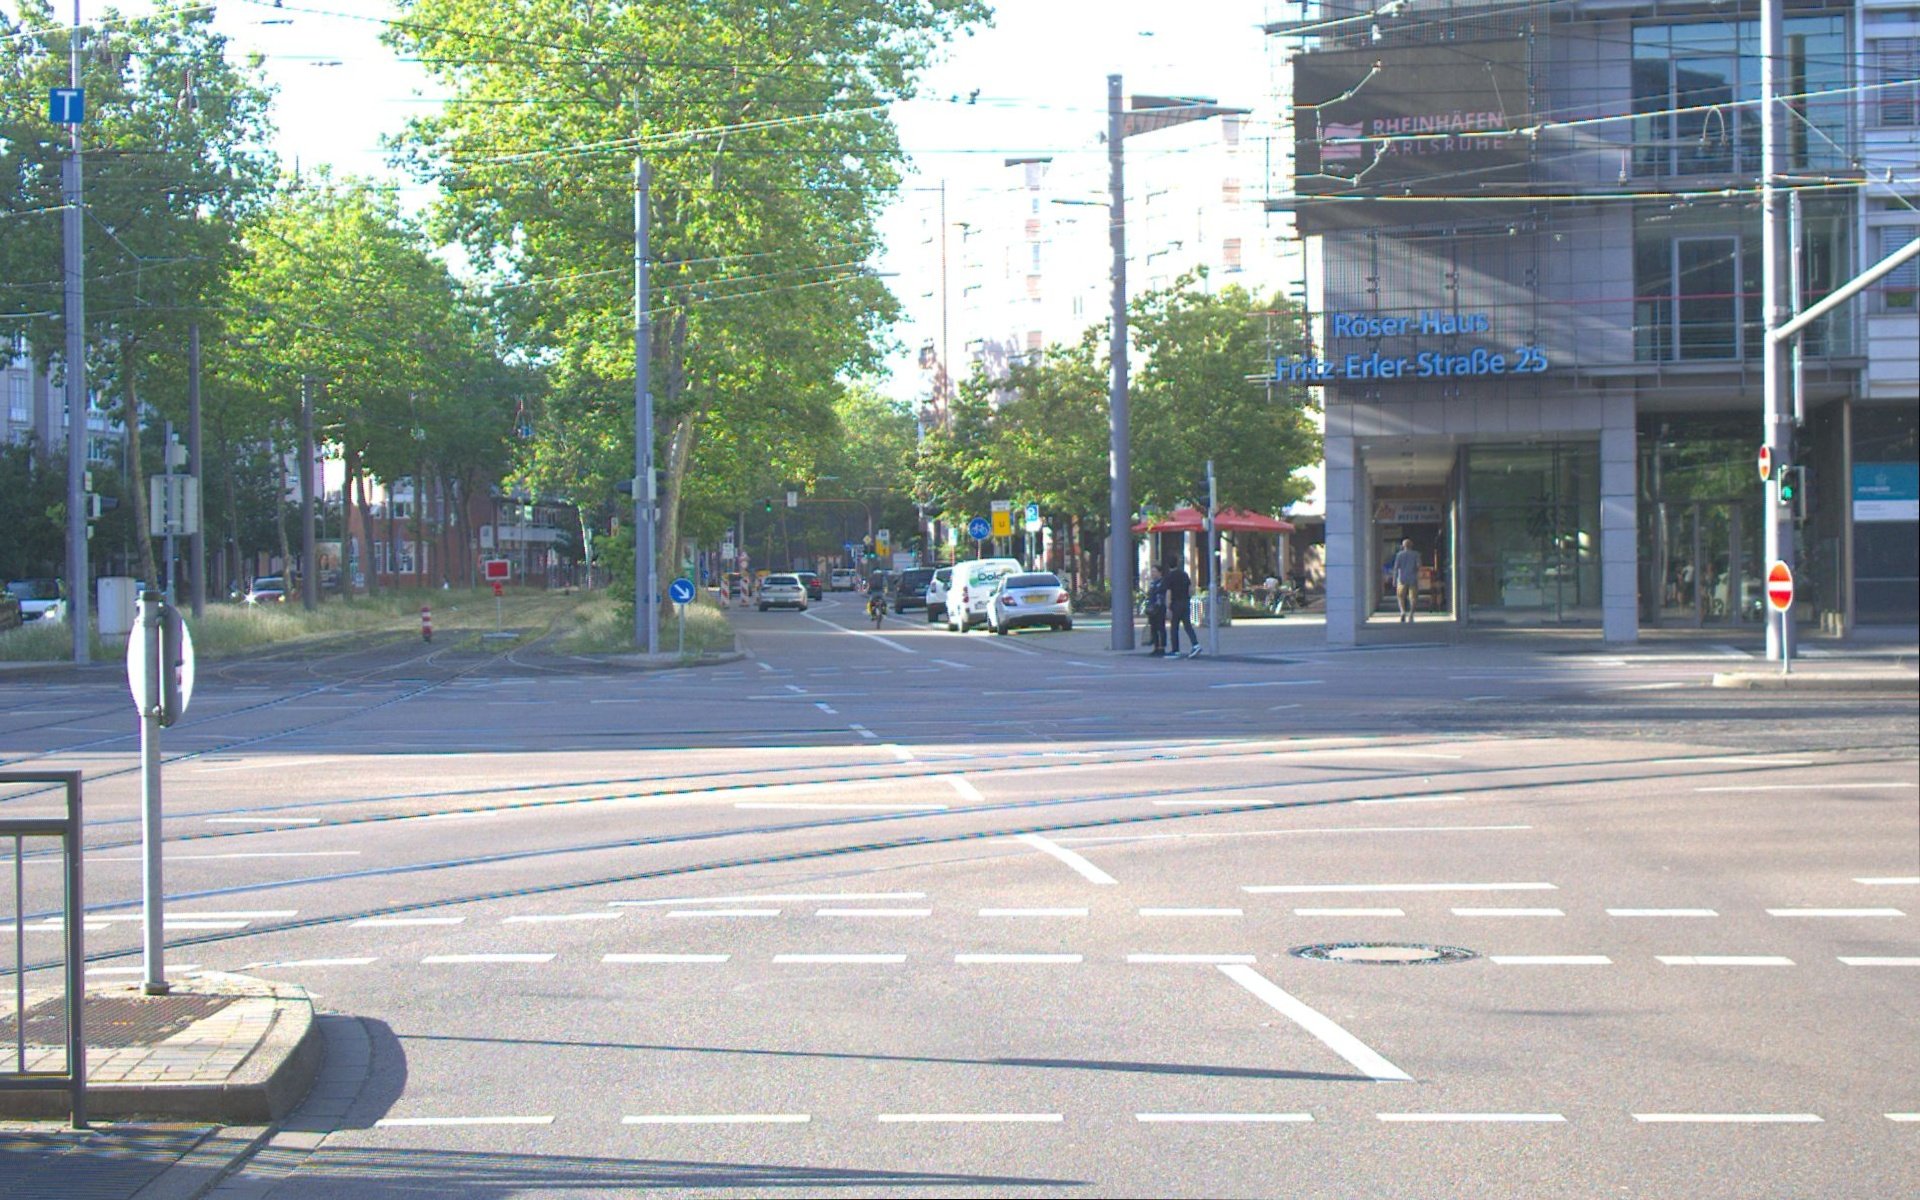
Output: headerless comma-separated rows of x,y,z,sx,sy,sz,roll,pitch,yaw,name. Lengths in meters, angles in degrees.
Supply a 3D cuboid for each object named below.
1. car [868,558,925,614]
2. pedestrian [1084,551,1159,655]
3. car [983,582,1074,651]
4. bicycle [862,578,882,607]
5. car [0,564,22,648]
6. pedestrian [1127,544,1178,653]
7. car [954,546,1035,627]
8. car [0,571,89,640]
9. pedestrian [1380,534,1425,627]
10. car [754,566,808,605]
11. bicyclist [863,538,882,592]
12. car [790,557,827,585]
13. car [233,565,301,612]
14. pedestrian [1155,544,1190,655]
-2.311,-0.498,125.913,1.993,2.007,4.000,1,0,-1,car
3.066,0.061,65.264,1.342,1.944,1.011,0,0,0,pedestrian
1.619,0.379,82.206,2.029,1.590,4.000,1,0,-1,car
-2.377,-0.207,92.918,0.490,0.786,1.862,0,0,-1,bicycle
-21.434,0.125,73.931,1.822,1.784,4.001,-1,1,-6,car
3.568,-0.025,63.692,0.849,2.007,0.708,1,0,-2,pedestrian
0.866,-0.348,88.903,1.993,2.007,4.000,1,0,-1,car
-21.994,0.125,82.254,1.676,1.602,4.001,1,0,-6,car
9.688,-0.432,75.271,0.869,2.007,0.793,1,-1,-1,pedestrian
-6.833,-0.567,131.264,1.748,1.413,4.000,0,1,1,car
-2.379,-0.946,93.062,0.486,1.434,0.615,1,1,-1,bicyclist
-7.710,-1.489,175.001,1.763,1.399,4.297,0,0,-4,car
-27.130,-0.450,134.697,1.844,1.777,4.000,-1,1,-1,car
3.865,-0.015,62.541,0.586,2.007,0.620,1,0,0,pedestrian
